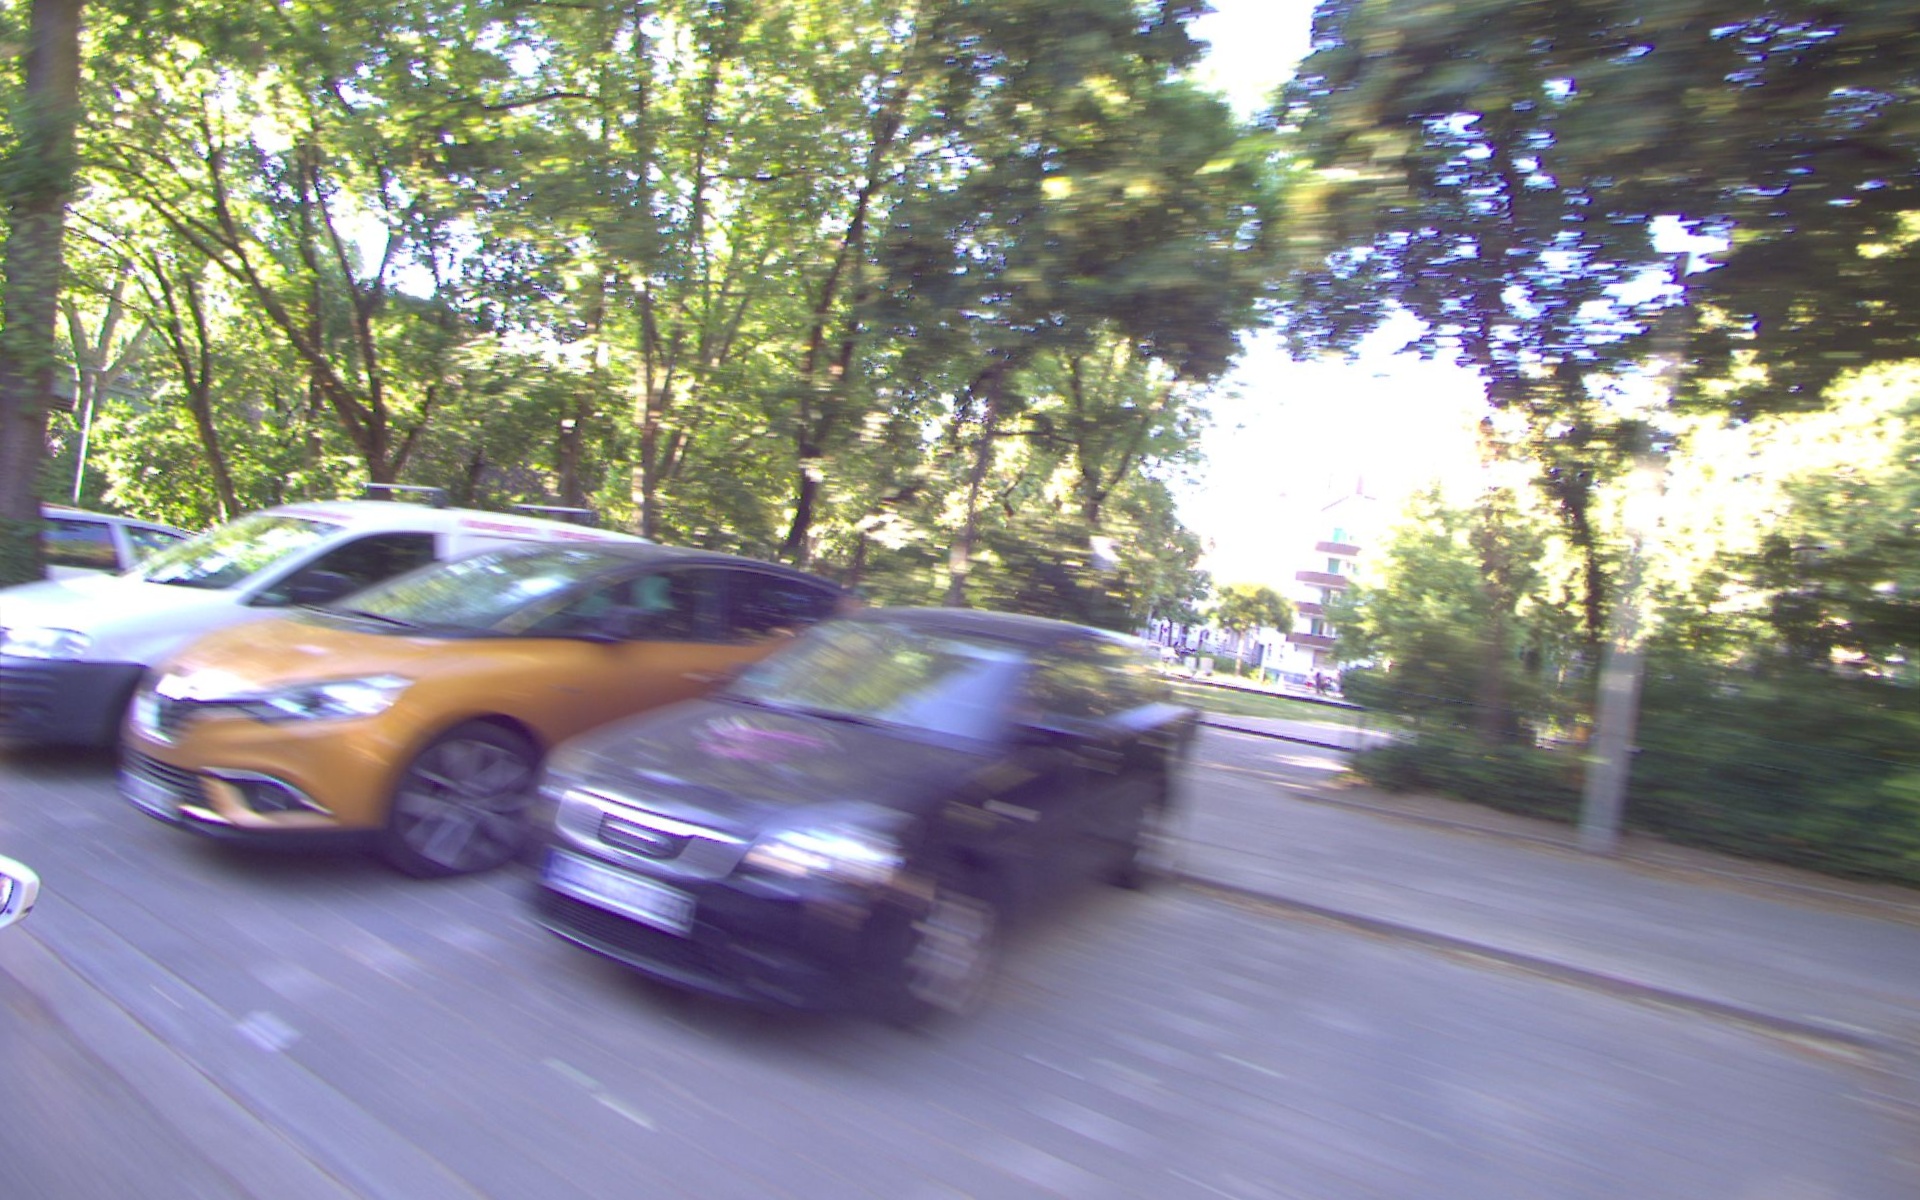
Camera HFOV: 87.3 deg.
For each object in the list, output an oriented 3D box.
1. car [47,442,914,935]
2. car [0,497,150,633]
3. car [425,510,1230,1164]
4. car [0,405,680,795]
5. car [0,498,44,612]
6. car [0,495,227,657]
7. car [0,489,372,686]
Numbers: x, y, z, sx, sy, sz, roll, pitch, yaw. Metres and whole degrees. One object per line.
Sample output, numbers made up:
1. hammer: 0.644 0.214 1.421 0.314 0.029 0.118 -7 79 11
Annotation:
1. car: -2.258 0.442 5.764 1.770 1.778 3.991 7 -2 35
2. car: -12.817 -0.604 12.417 1.560 1.592 3.997 7 -2 29
3. car: -0.090 0.775 4.875 1.767 1.646 3.999 7 -2 27
4. car: -4.509 0.002 7.387 1.840 1.950 4.675 7 1 29
5. car: -15.056 -0.878 13.256 1.560 1.592 4.031 7 -2 29
6. car: -10.635 -0.362 10.858 1.560 1.592 3.997 7 -2 29
7. car: -8.343 -0.116 9.884 1.639 1.592 3.993 7 -2 33
